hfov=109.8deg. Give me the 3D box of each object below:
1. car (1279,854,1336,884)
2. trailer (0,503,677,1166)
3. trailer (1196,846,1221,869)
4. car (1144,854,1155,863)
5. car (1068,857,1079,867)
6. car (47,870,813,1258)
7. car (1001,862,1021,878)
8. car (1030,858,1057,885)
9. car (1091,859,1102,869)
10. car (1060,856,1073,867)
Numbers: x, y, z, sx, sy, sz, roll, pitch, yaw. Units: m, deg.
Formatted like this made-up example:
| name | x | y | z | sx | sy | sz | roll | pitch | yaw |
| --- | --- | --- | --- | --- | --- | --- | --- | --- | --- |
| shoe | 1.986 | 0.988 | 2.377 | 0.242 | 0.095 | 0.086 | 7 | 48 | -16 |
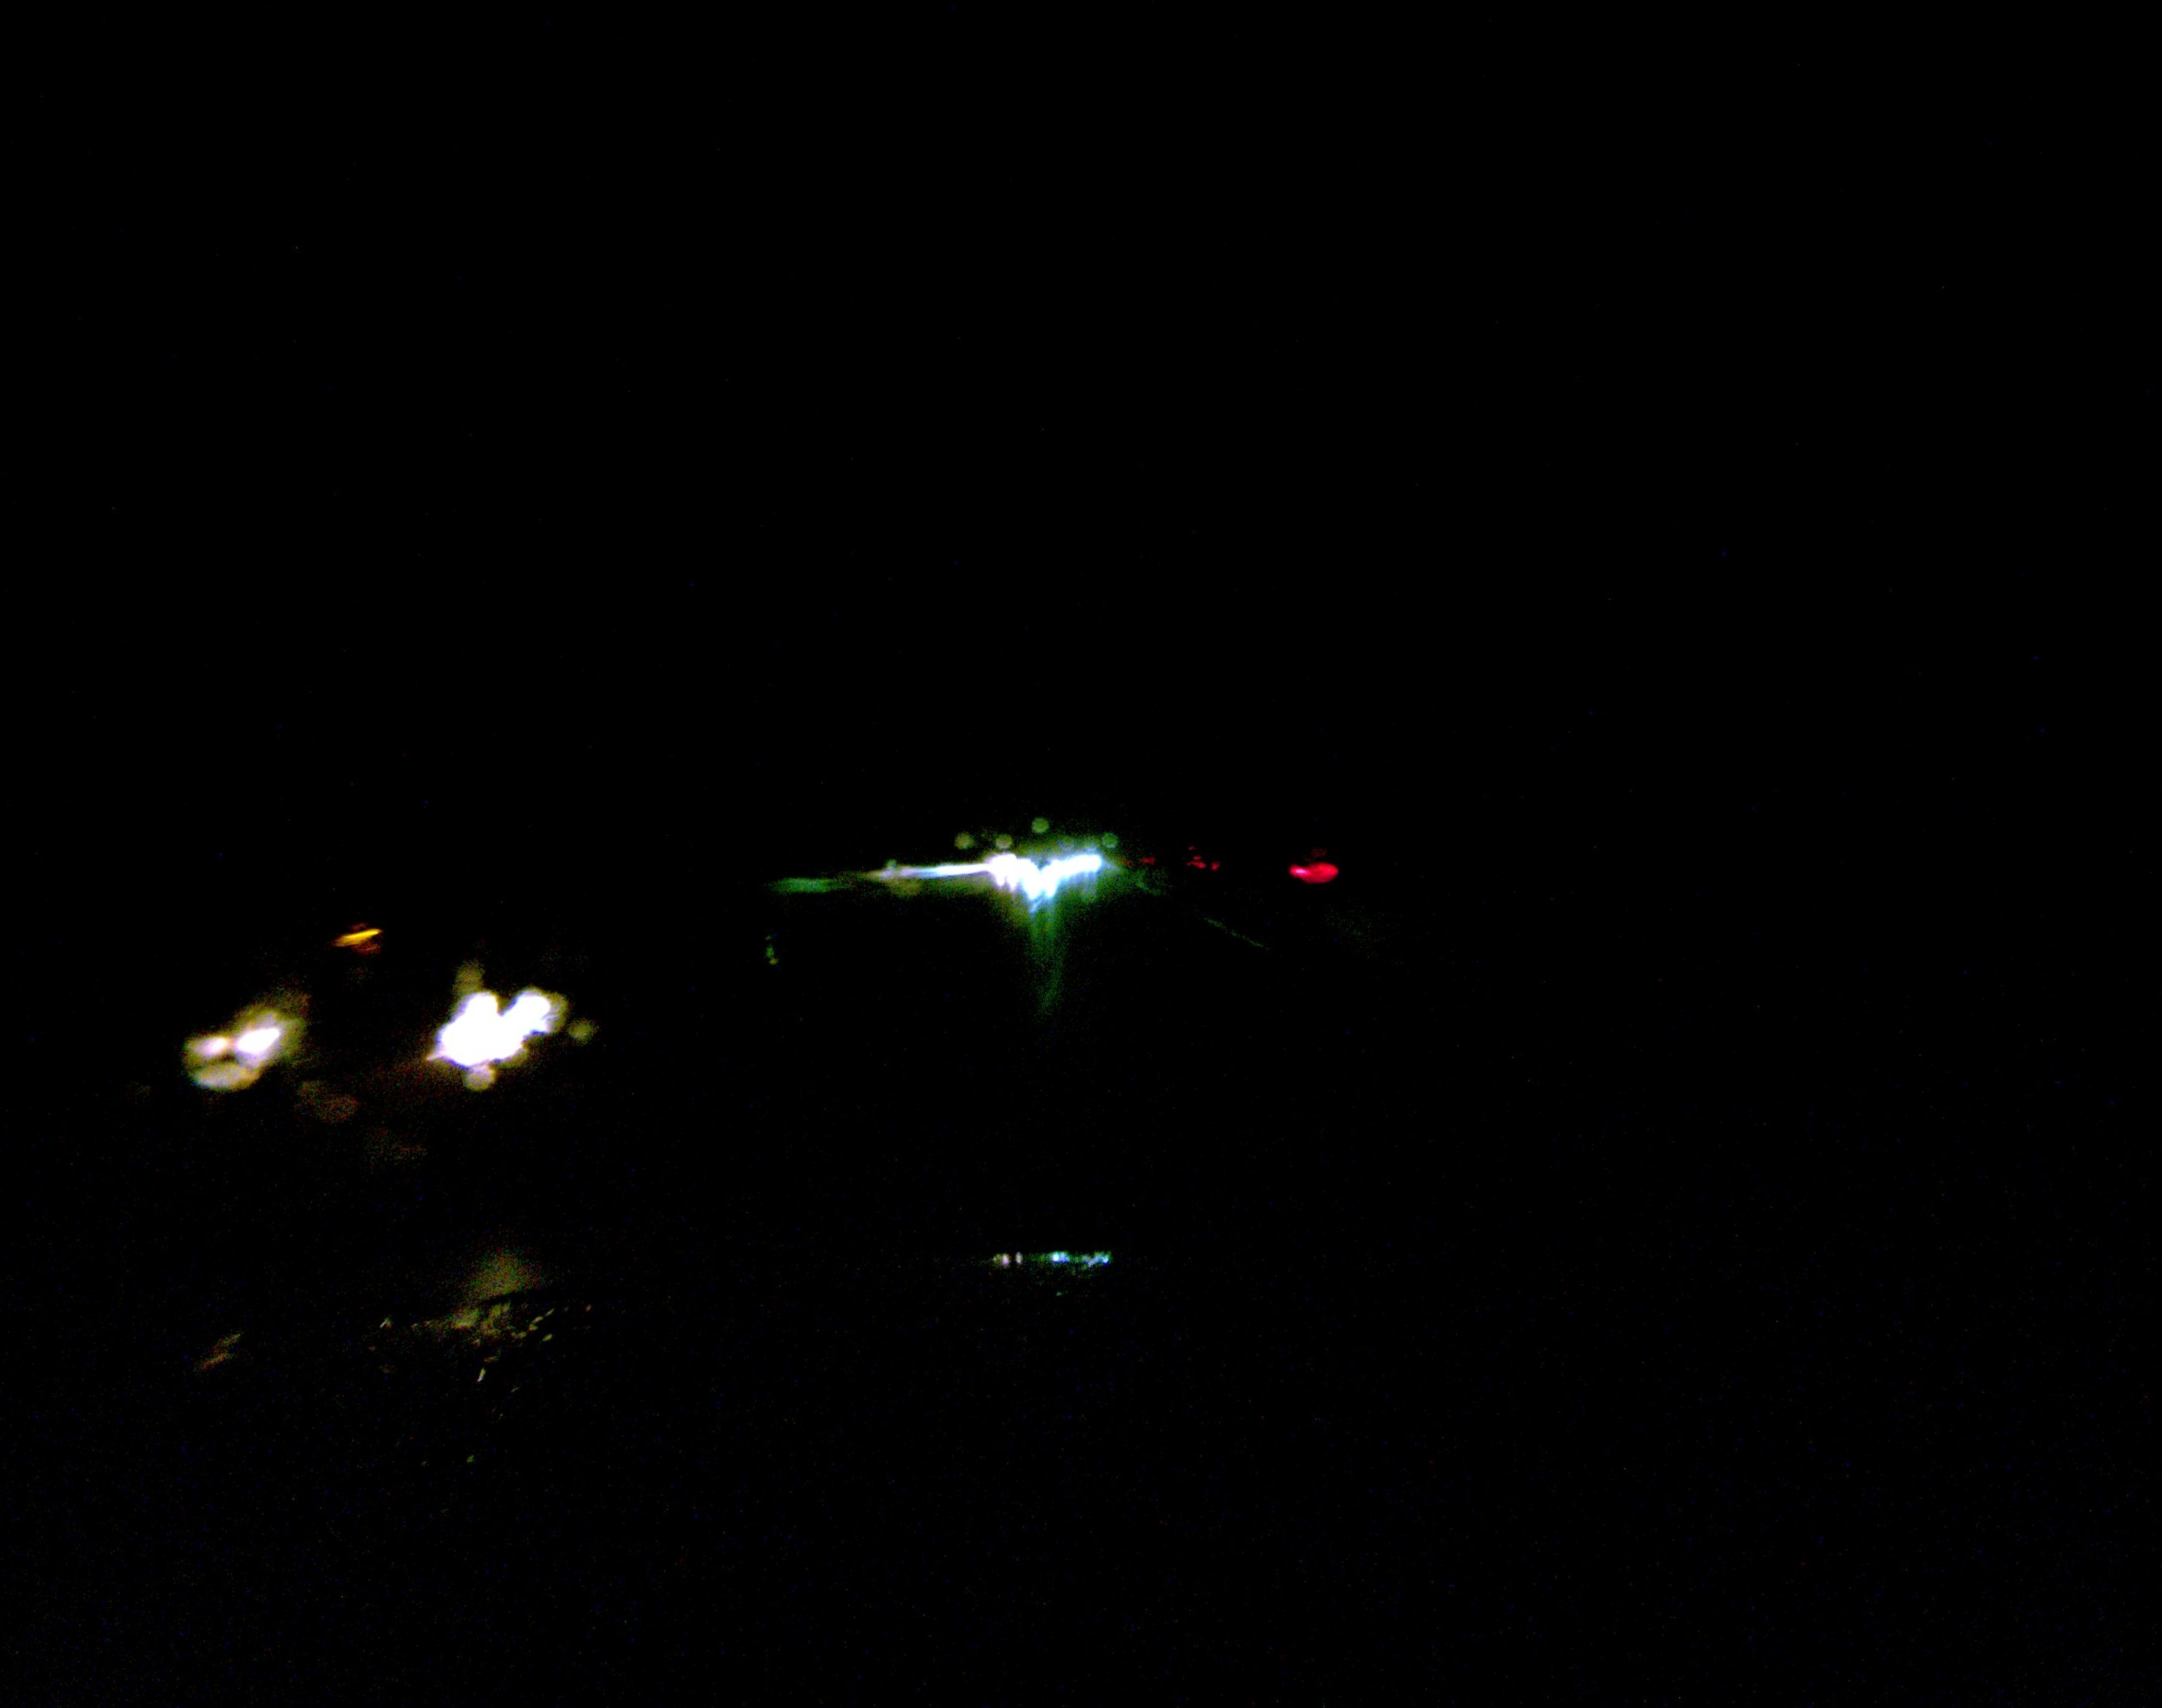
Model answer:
| name | x | y | z | sx | sy | sz | roll | pitch | yaw |
| --- | --- | --- | --- | --- | --- | --- | --- | --- | --- |
| car | 13.151 | 0.836 | 44.364 | 1.998 | 1.653 | 4.809 | 0 | 0 | 1 |
| trailer | -8.115 | -0.120 | 5.218 | 2.910 | 4.084 | 14.486 | 0 | 0 | 0 |
| trailer | 22.398 | 0.591 | 133.798 | 2.864 | 3.877 | 8.705 | -1 | 0 | -1 |
| car | 15.151 | 0.912 | 168.718 | 1.998 | 2.002 | 4.000 | -1 | 0 | 0 |
| car | -1.383 | 1.441 | 136.859 | 1.883 | 1.653 | 4.000 | -3 | -1 | -1 |
| car | -3.694 | 0.991 | 5.638 | 1.745 | 1.566 | 4.493 | -1 | 0 | 0 |
| car | -6.780 | 1.514 | 73.892 | 1.644 | 1.494 | 4.013 | -1 | 0 | -2 |
| car | -2.975 | 1.372 | 60.972 | 1.999 | 2.001 | 3.999 | -2 | 0 | -3 |
| car | 2.824 | 1.832 | 140.427 | 1.883 | 1.653 | 4.000 | -3 | -1 | -1 |
| car | -2.212 | 1.196 | 117.492 | 1.883 | 1.653 | 4.000 | -3 | -1 | -1 |
